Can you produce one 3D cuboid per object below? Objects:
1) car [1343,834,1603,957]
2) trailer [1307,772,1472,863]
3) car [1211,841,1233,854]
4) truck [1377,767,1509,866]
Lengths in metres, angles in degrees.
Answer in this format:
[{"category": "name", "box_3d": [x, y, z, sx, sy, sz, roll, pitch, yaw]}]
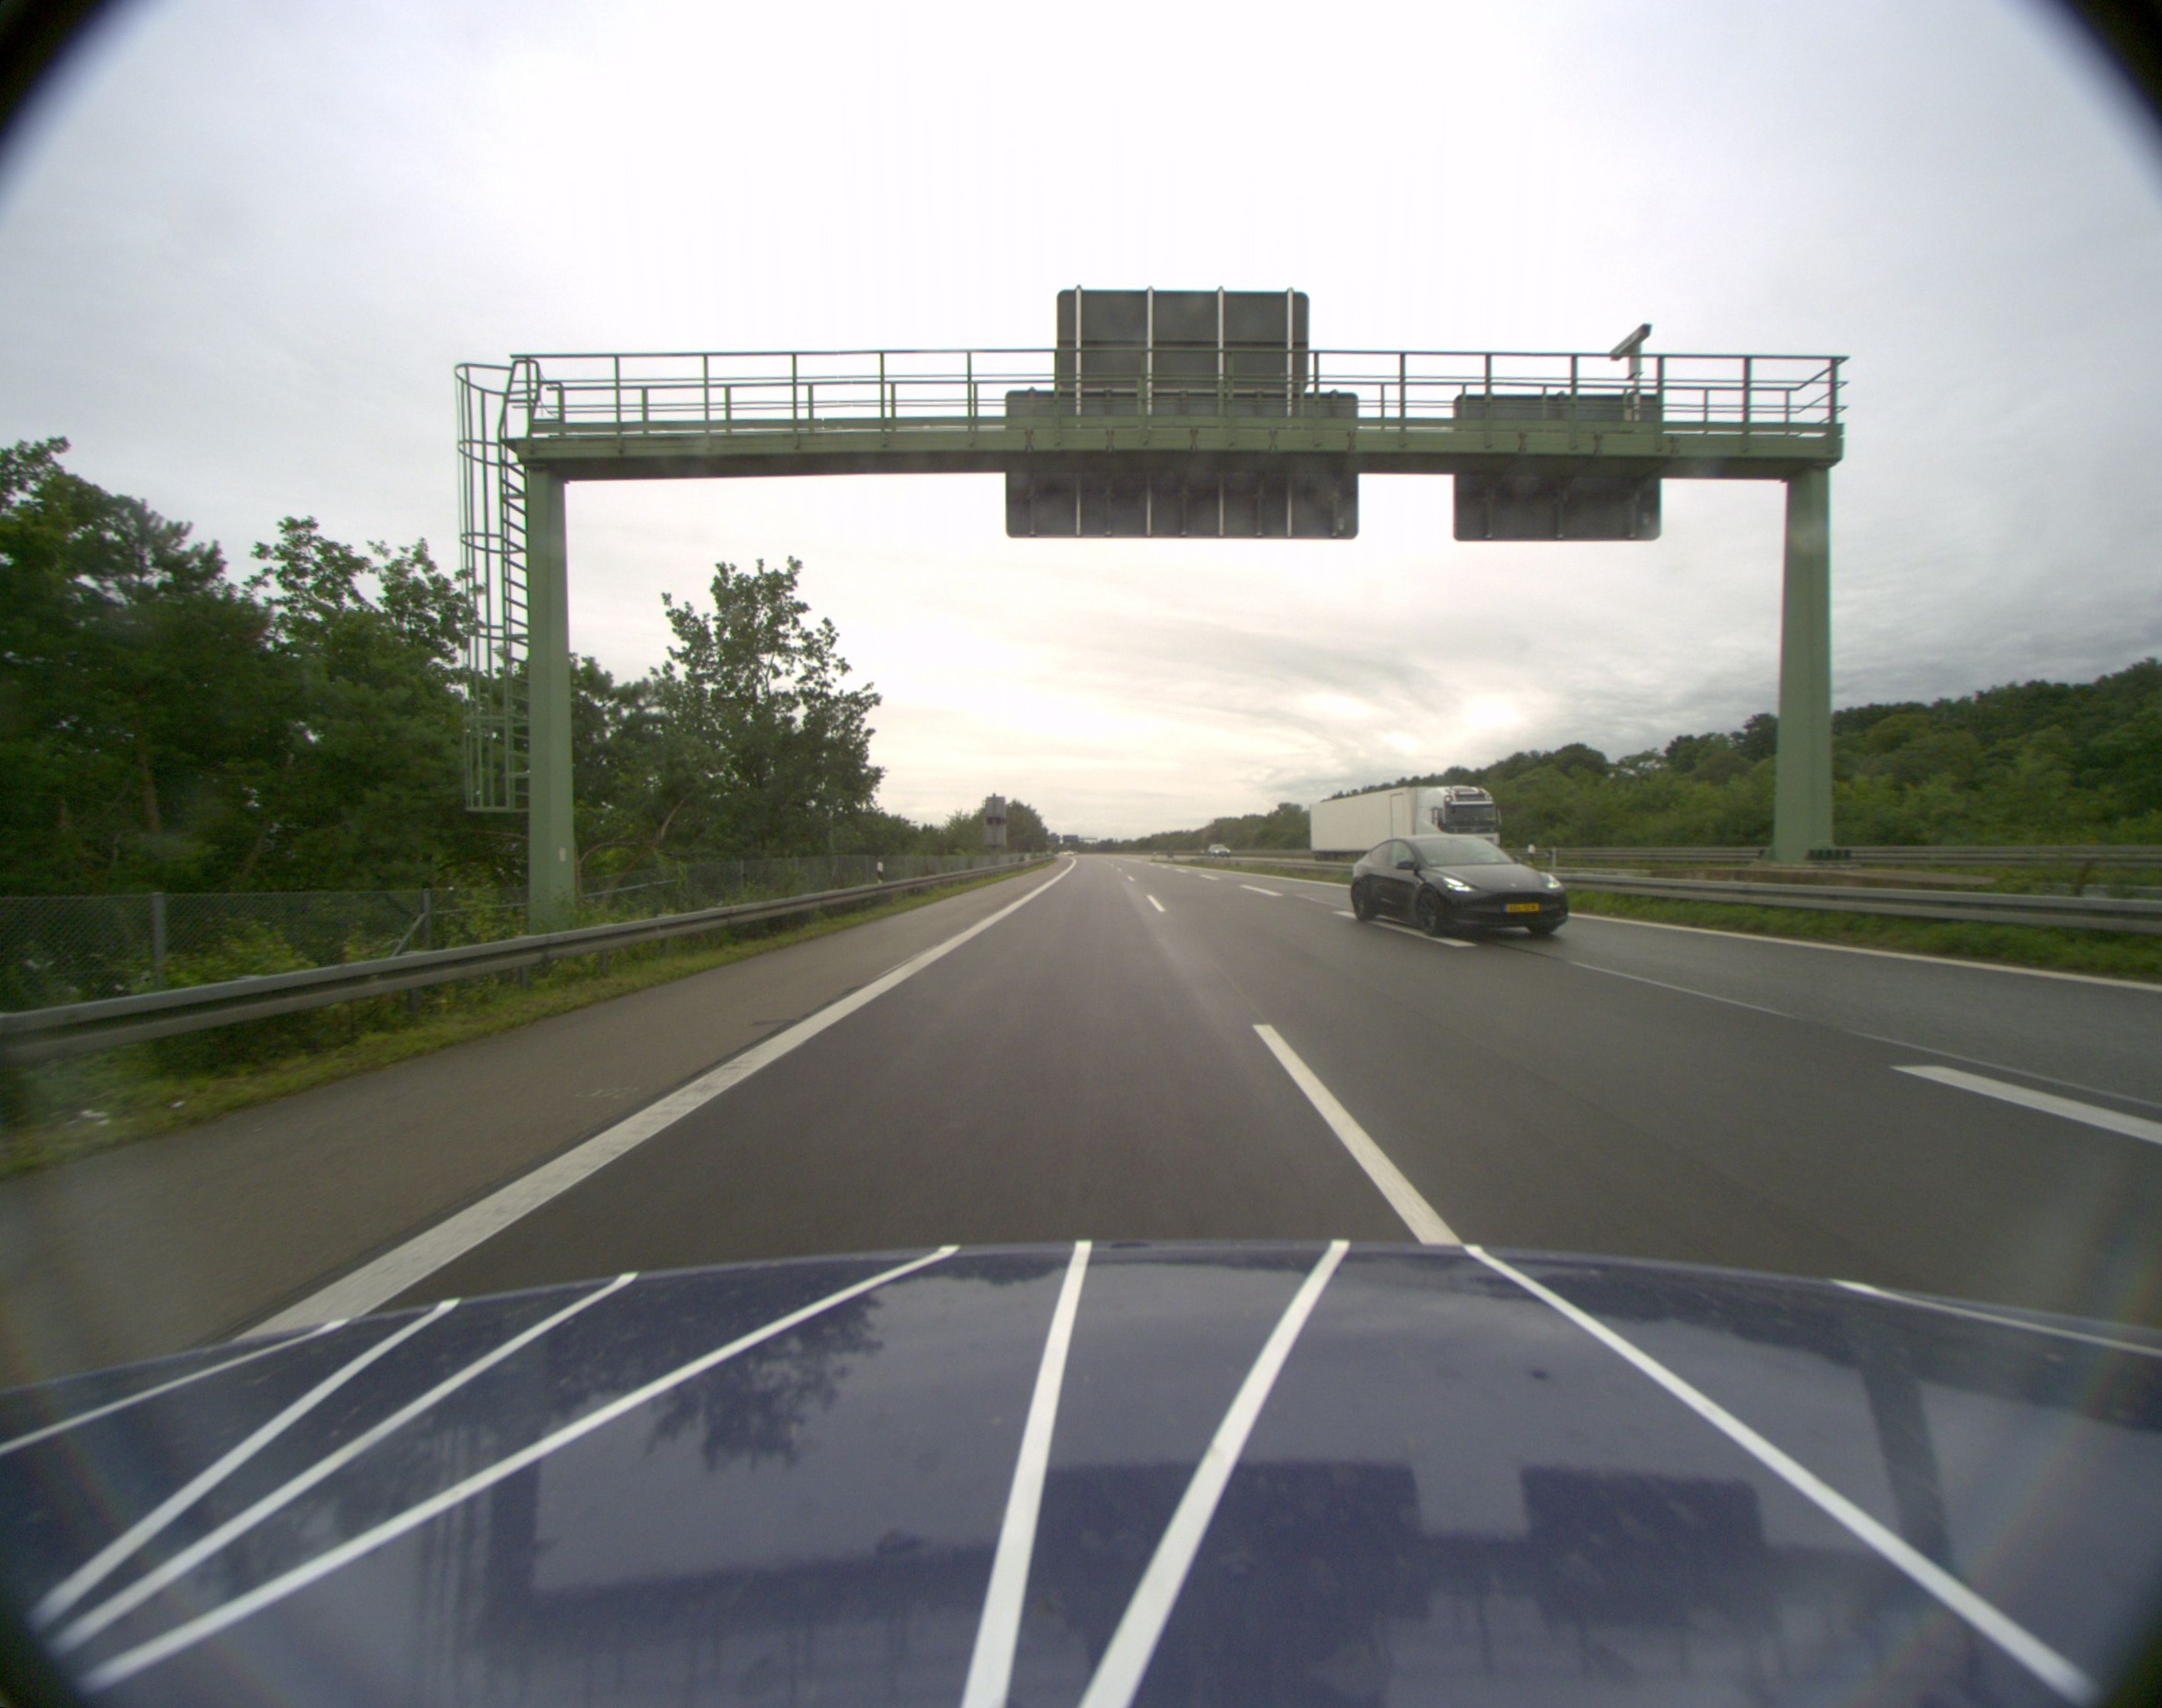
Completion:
[{"category": "car", "box_3d": [6.192, 0.525, 12.740, 1.966, 1.628, 4.553, -2, 1, 0]}, {"category": "trailer", "box_3d": [16.274, -1.738, 41.889, 2.774, 4.111, 13.946, -2, 1, -3]}, {"category": "car", "box_3d": [18.268, -0.875, 98.529, 1.903, 1.641, 4.484, -2, 1, -2]}, {"category": "truck", "box_3d": [16.560, -1.615, 35.359, 2.774, 4.111, 6.443, -2, 1, -3]}]
